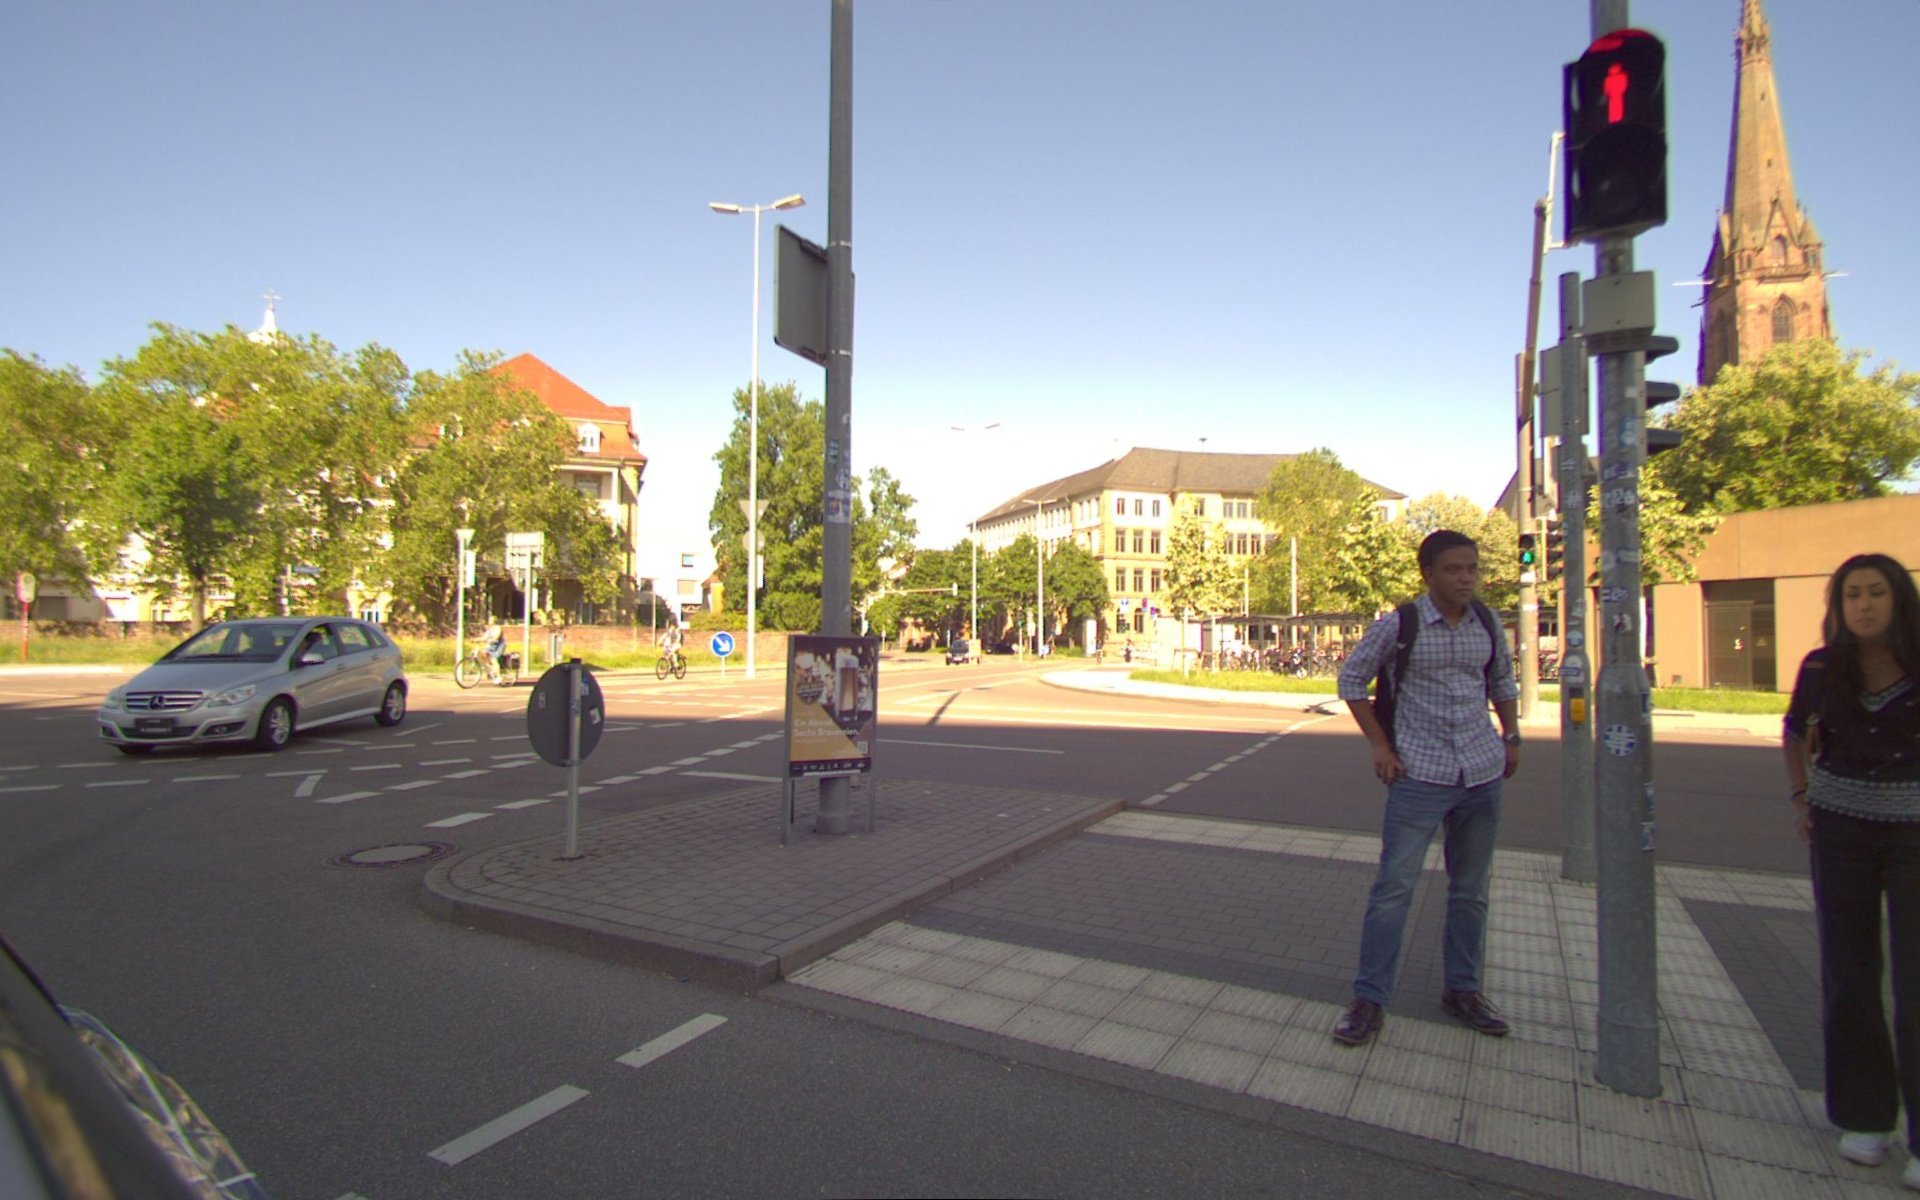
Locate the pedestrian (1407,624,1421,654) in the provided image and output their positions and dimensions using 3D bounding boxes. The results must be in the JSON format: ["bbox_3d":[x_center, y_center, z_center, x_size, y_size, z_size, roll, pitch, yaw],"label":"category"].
[{"bbox_3d":[27.780,2.386,61.944,0.539,1.736,0.672,-5,-10,43],"label":"pedestrian"}]

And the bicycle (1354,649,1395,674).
[{"bbox_3d":[18.228,2.684,44.551,0.558,1.046,1.794,2,-3,-24],"label":"bicycle"}]

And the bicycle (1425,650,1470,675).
[{"bbox_3d":[20.808,2.655,43.221,0.558,1.046,1.794,2,-3,-24],"label":"bicycle"}]

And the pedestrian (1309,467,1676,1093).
[{"bbox_3d":[1.772,0.541,3.580,0.747,1.847,1.094,0,-2,5],"label":"pedestrian"}]

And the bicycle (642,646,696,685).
[{"bbox_3d":[-9.101,2.048,31.733,0.771,1.174,1.959,-2,-3,13],"label":"bicycle"}]

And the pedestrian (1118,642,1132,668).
[{"bbox_3d":[11.043,3.656,67.713,0.783,1.694,0.645,-3,-3,15],"label":"pedestrian"}]

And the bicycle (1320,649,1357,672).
[{"bbox_3d":[18.058,2.872,48.357,0.558,1.046,1.794,2,-3,-24],"label":"bicycle"}]

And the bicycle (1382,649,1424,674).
[{"bbox_3d":[19.720,2.728,45.077,0.558,1.046,1.794,2,-3,-24],"label":"bicycle"}]

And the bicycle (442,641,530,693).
[{"bbox_3d":[-11.104,1.563,23.792,0.639,1.174,1.952,-2,-3,23],"label":"bicycle"}]

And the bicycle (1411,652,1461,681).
[{"bbox_3d":[18.038,2.502,38.419,0.558,1.046,1.794,2,-3,-24],"label":"bicycle"}]

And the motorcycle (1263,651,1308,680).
[{"bbox_3d":[12.979,2.619,40.456,0.585,1.128,1.991,1,-3,-20],"label":"motorcycle"}]

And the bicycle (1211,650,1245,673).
[{"bbox_3d":[12.800,2.952,48.402,0.558,1.046,1.794,2,-3,-24],"label":"bicycle"}]

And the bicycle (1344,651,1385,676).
[{"bbox_3d":[17.697,2.754,44.299,0.558,1.046,1.794,2,-3,-24],"label":"bicycle"}]

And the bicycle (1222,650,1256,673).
[{"bbox_3d":[13.420,2.957,48.675,0.558,1.046,1.794,2,-3,-24],"label":"bicycle"}]

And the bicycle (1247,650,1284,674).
[{"bbox_3d":[14.075,2.866,46.681,0.558,1.046,1.794,2,-3,-24],"label":"bicycle"}]

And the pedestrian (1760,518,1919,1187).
[{"bbox_3d":[2.636,0.618,2.642,0.671,1.625,0.720,2,-3,-42],"label":"pedestrian"}]

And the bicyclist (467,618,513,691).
[{"bbox_3d":[-11.079,1.280,23.866,0.639,1.675,0.770,-2,-3,24],"label":"bicyclist"}]

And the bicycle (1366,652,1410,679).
[{"bbox_3d":[17.701,2.690,41.888,0.558,1.046,1.794,2,-3,-24],"label":"bicycle"}]

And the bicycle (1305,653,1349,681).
[{"bbox_3d":[14.701,2.676,40.554,0.558,1.046,1.794,2,-3,-24],"label":"bicycle"}]

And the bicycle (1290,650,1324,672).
[{"bbox_3d":[17.286,3.021,50.442,0.558,1.046,1.794,2,-3,-24],"label":"bicycle"}]

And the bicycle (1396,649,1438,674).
[{"bbox_3d":[20.435,2.754,45.328,0.558,1.046,1.794,2,-3,-24],"label":"bicycle"}]

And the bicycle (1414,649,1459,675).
[{"bbox_3d":[20.234,2.641,42.977,0.558,1.046,1.794,2,-3,-24],"label":"bicycle"}]

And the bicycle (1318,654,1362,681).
[{"bbox_3d":[15.302,2.712,40.809,0.558,1.046,1.794,2,-3,-24],"label":"bicycle"}]

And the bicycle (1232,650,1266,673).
[{"bbox_3d":[13.982,2.972,48.939,0.558,1.046,1.794,2,-3,-24],"label":"bicycle"}]

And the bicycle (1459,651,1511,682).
[{"bbox_3d":[18.657,2.362,36.021,0.558,1.046,1.793,2,-3,-16],"label":"bicycle"}]

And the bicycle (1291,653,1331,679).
[{"bbox_3d":[14.883,2.771,42.941,0.558,1.046,1.794,2,-3,-24],"label":"bicycle"}]

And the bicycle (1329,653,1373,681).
[{"bbox_3d":[15.842,2.705,41.056,0.558,1.046,1.794,2,-3,-24],"label":"bicycle"}]

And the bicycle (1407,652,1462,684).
[{"bbox_3d":[16.613,2.372,35.474,0.558,1.046,1.794,2,-3,-24],"label":"bicycle"}]

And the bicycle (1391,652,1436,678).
[{"bbox_3d":[18.996,2.707,42.441,0.558,1.046,1.794,2,-3,-24],"label":"bicycle"}]

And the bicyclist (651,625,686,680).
[{"bbox_3d":[-9.119,1.645,31.684,0.777,1.675,0.773,-1,-3,14],"label":"bicyclist"}]

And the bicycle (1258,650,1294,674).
[{"bbox_3d":[14.624,2.877,46.904,0.558,1.046,1.794,2,-3,-24],"label":"bicycle"}]

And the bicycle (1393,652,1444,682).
[{"bbox_3d":[17.021,2.487,37.626,0.558,1.046,1.794,2,-3,-24],"label":"bicycle"}]

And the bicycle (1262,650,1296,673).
[{"bbox_3d":[15.671,3.012,49.735,0.558,1.046,1.794,2,-3,-24],"label":"bicycle"}]

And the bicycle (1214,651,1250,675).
[{"bbox_3d":[12.335,2.859,45.979,0.558,1.046,1.794,2,-3,-24],"label":"bicycle"}]

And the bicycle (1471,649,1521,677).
[{"bbox_3d":[20.999,2.471,39.677,0.558,1.046,1.794,2,-3,-24],"label":"bicycle"}]

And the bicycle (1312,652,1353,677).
[{"bbox_3d":[15.997,2.761,43.546,0.558,1.046,1.794,2,-3,-24],"label":"bicycle"}]

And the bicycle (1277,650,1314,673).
[{"bbox_3d":[15.712,2.884,47.401,0.558,1.046,1.794,2,-3,-24],"label":"bicycle"}]

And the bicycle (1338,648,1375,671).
[{"bbox_3d":[19.168,2.877,48.903,0.558,1.046,1.794,2,-3,-24],"label":"bicycle"}]

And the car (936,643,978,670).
[{"bbox_3d":[-0.137,3.490,62.648,1.976,1.484,4.287,-3,-3,8],"label":"car"}]

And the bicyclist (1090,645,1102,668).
[{"bbox_3d":[9.734,4.056,72.418,0.715,1.633,0.973,0,-3,13],"label":"bicyclist"}]

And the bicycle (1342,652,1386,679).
[{"bbox_3d":[16.499,2.670,41.381,0.558,1.046,1.794,2,-3,-24],"label":"bicycle"}]

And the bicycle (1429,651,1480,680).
[{"bbox_3d":[18.945,2.487,38.797,0.558,1.046,1.794,2,-3,-24],"label":"bicycle"}]

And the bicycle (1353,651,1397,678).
[{"bbox_3d":[17.072,2.639,41.637,0.558,1.046,1.794,2,-3,-24],"label":"bicycle"}]

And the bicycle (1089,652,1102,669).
[{"bbox_3d":[9.715,4.292,72.329,0.741,1.174,1.862,1,-3,13],"label":"bicycle"}]

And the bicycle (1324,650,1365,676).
[{"bbox_3d":[16.612,2.726,43.800,0.558,1.046,1.794,2,-3,-24],"label":"bicycle"}]

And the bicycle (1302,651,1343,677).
[{"bbox_3d":[15.462,2.710,43.236,0.558,1.046,1.794,2,-3,-24],"label":"bicycle"}]

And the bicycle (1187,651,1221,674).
[{"bbox_3d":[11.534,2.932,47.840,0.558,1.046,1.794,2,-3,-24],"label":"bicycle"}]

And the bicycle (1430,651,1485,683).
[{"bbox_3d":[17.538,2.356,35.687,0.558,1.046,1.794,2,-3,-24],"label":"bicycle"}]

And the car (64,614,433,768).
[{"bbox_3d":[-8.981,1.026,13.380,1.746,1.606,4.640,-1,0,-2],"label":"car"}]
